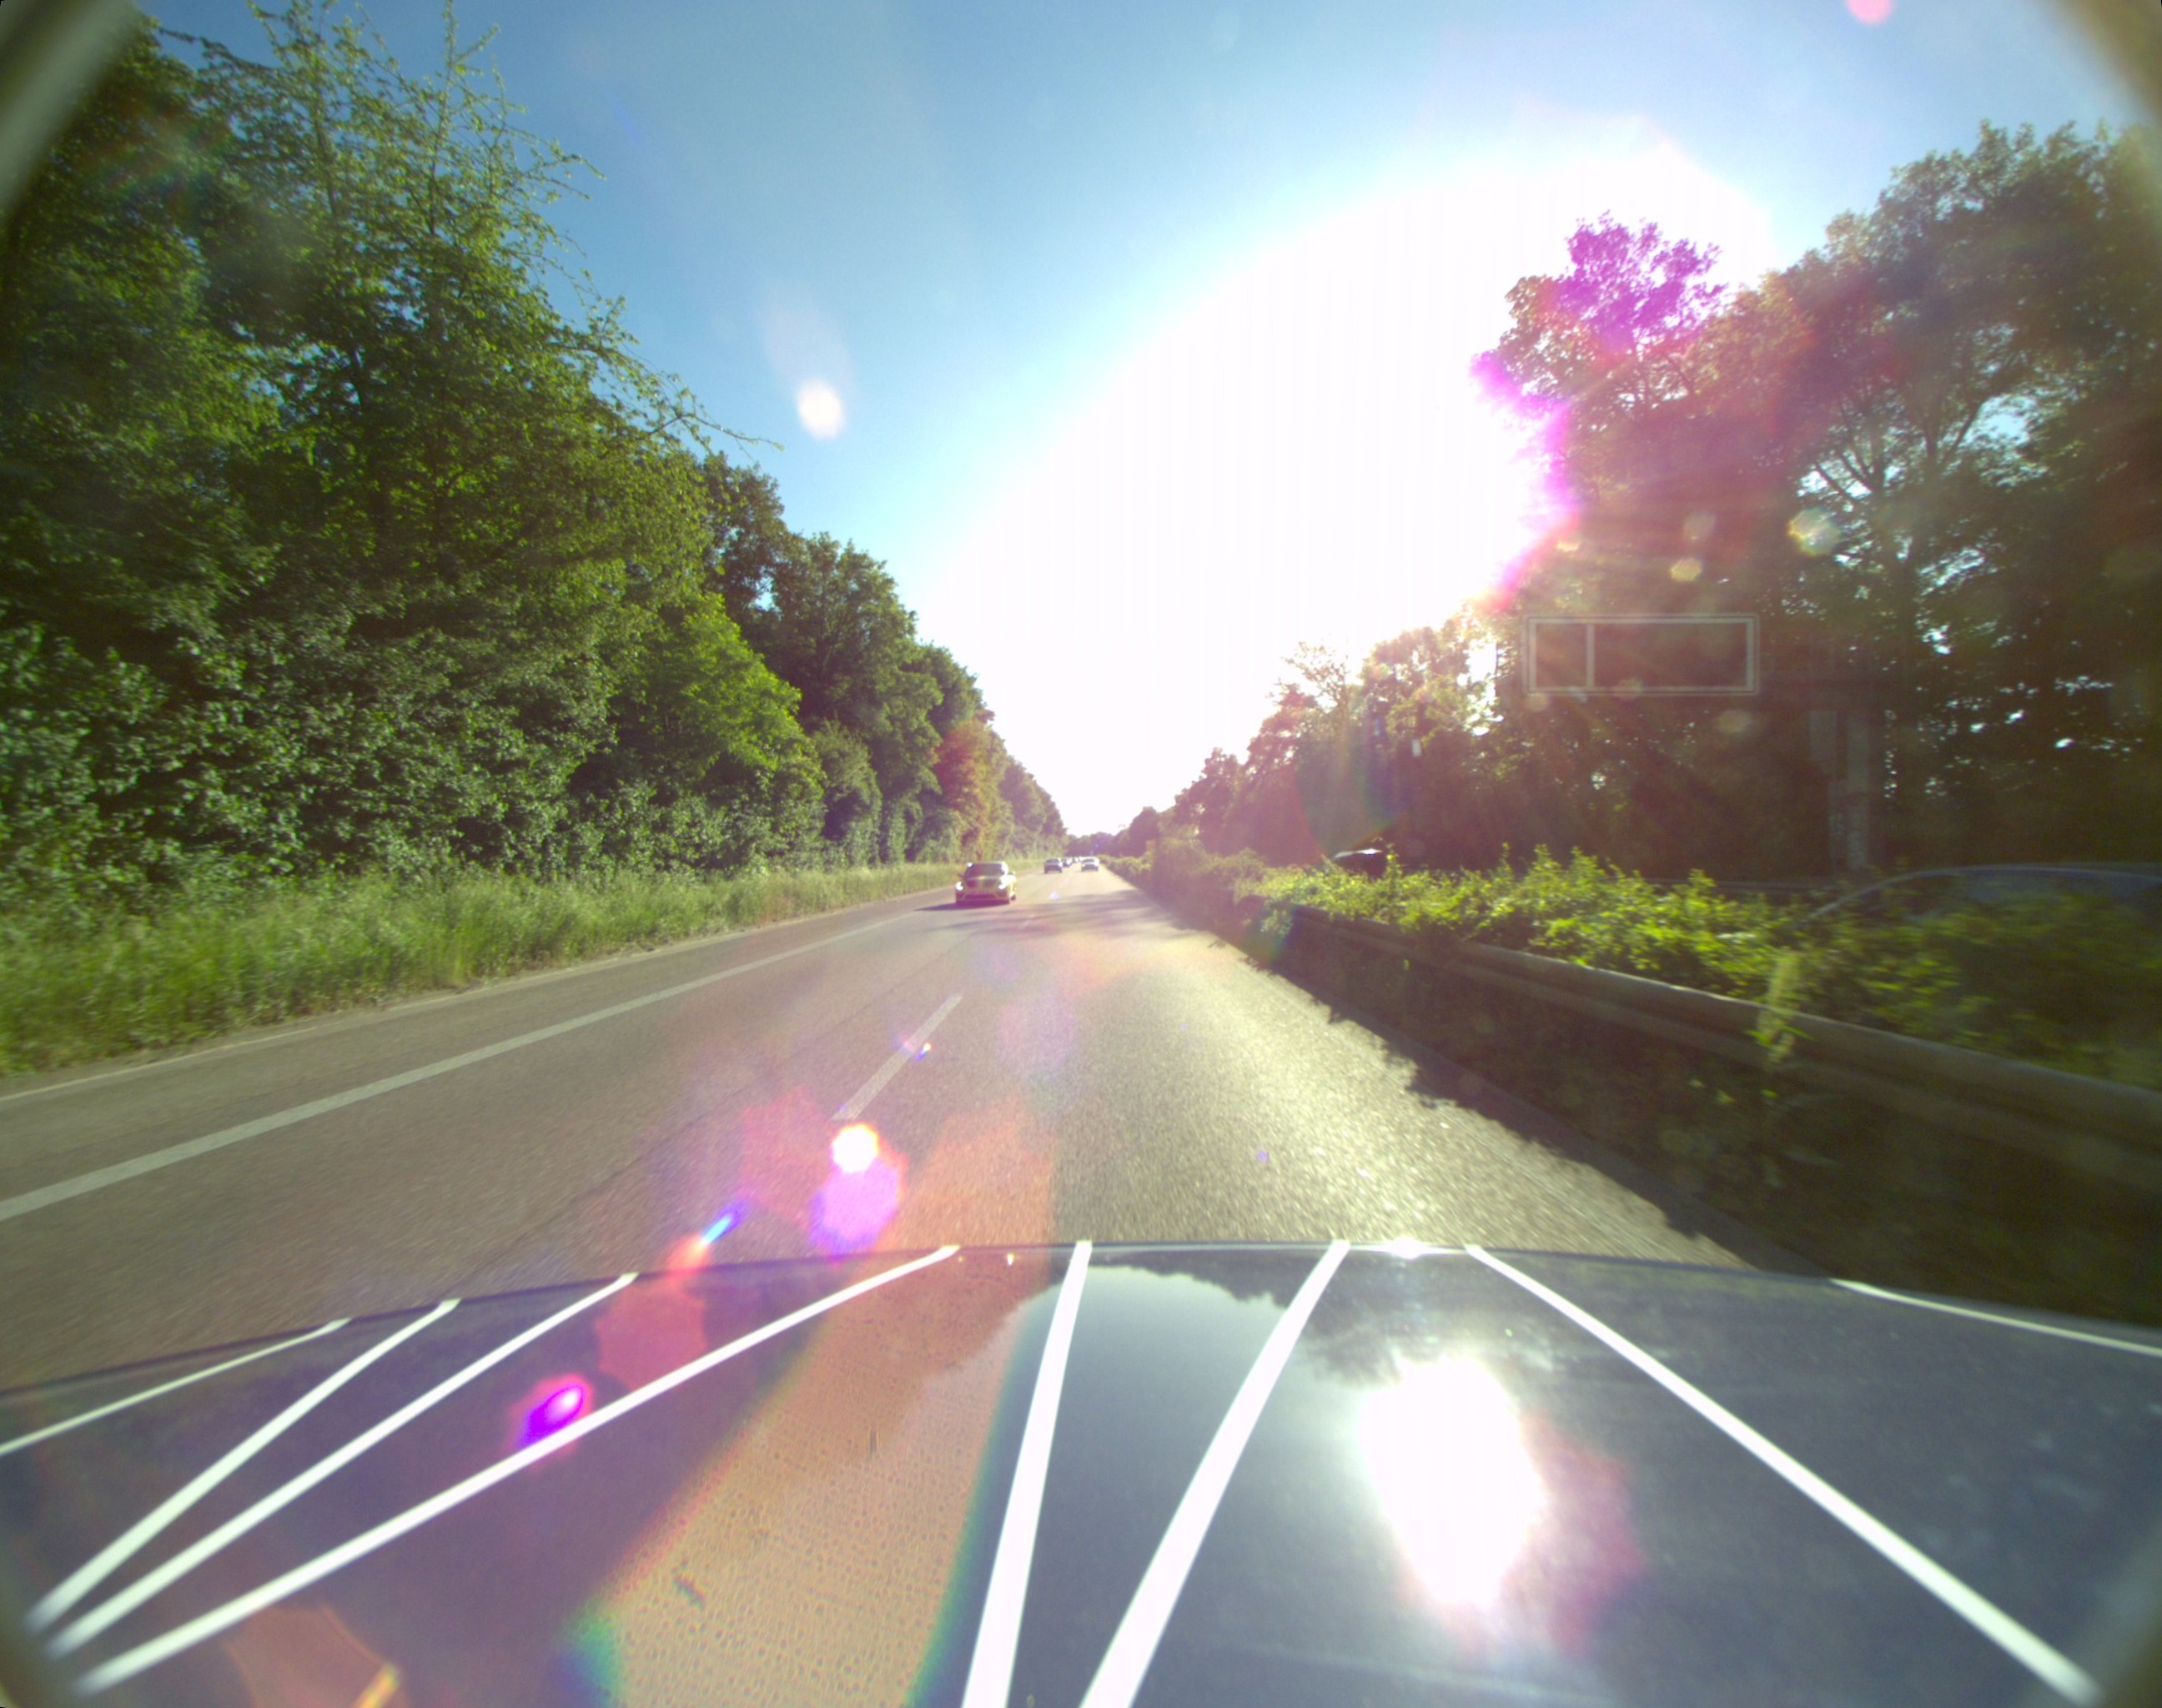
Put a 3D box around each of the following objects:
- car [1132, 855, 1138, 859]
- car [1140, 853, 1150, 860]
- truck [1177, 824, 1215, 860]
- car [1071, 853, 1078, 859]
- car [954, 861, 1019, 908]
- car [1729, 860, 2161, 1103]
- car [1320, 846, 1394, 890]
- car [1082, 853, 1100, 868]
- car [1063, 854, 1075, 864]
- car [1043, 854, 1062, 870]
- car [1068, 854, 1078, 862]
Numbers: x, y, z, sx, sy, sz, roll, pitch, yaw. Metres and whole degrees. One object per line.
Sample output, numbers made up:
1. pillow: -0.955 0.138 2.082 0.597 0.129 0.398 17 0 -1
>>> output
1. car: 15.439 0.918 217.325 1.649 1.215 4.262 -1 0 0
2. car: 14.658 0.534 174.175 1.737 1.400 4.556 -2 0 1
3. truck: 13.322 -1.377 88.666 2.776 3.932 11.466 -2 1 1
4. car: -1.586 0.537 196.513 1.794 1.440 3.877 -2 0 0
5. car: -3.263 1.014 26.980 1.794 1.440 3.877 -2 0 0
6. car: 8.631 0.930 7.102 1.766 1.607 3.989 -2 1 1
7. car: 12.383 0.569 34.372 1.721 1.800 4.526 -2 1 1
8. car: 1.108 0.691 82.550 1.890 1.440 3.878 -2 0 1
9. car: -1.833 0.749 117.877 1.794 1.440 3.877 -2 0 0
10. car: -2.872 0.801 77.900 1.794 1.440 3.877 -2 0 0
11. car: -1.559 0.763 145.729 1.794 1.440 3.877 -2 0 0
